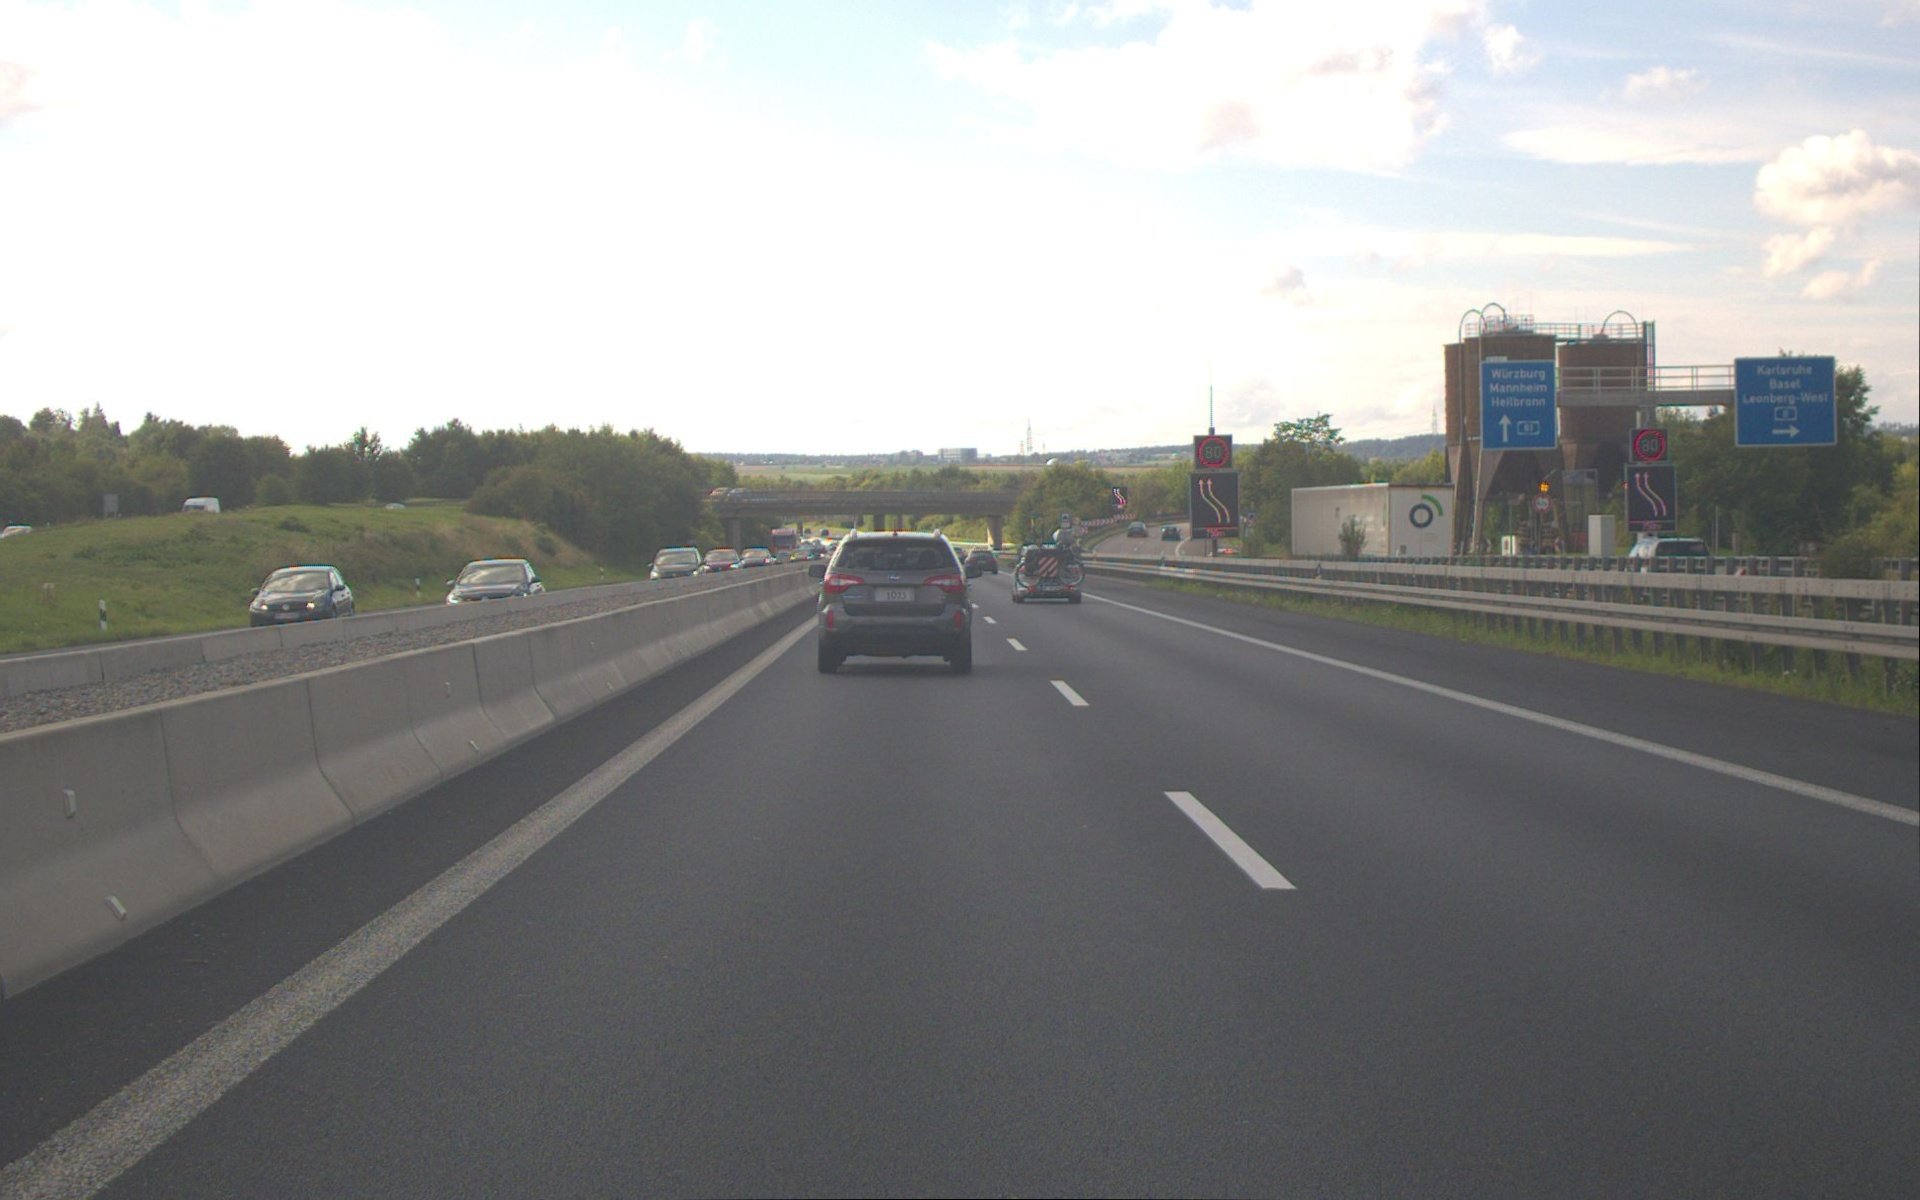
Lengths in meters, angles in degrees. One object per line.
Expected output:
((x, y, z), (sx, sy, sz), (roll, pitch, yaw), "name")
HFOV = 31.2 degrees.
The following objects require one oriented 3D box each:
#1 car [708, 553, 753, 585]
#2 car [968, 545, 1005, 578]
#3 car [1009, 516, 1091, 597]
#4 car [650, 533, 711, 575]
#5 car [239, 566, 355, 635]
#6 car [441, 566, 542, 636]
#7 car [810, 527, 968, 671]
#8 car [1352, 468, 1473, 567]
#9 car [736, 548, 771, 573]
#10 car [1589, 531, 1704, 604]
((-10.633, -1.450, 159.364), (1.787, 1.393, 4.800), (-2, 1, -1), "car")
((1.516, -2.222, 198.443), (1.975, 1.773, 4.120), (-2, 1, -1), "car")
((2.420, -1.184, 93.442), (1.993, 2.073, 4.000), (-2, 1, -1), "car")
((-9.994, -1.649, 123.178), (1.787, 1.393, 4.725), (-2, 1, -1), "car")
((-14.321, -0.011, 74.431), (1.727, 1.393, 4.158), (-2, 1, -1), "car")
((-9.930, 0.005, 73.020), (1.641, 1.393, 3.742), (-2, 1, -1), "car")
((-0.826, -0.039, 41.939), (1.750, 1.624, 3.609), (-2, 1, 1), "car")
((17.737, -3.212, 135.311), (3.576, 3.664, 7.549), (-2, 1, -1), "car")
((-11.967, -2.313, 199.393), (1.787, 1.393, 4.623), (-2, 1, -1), "car")
((17.097, -0.808, 85.796), (1.993, 1.711, 4.000), (-2, 1, -1), "car")
